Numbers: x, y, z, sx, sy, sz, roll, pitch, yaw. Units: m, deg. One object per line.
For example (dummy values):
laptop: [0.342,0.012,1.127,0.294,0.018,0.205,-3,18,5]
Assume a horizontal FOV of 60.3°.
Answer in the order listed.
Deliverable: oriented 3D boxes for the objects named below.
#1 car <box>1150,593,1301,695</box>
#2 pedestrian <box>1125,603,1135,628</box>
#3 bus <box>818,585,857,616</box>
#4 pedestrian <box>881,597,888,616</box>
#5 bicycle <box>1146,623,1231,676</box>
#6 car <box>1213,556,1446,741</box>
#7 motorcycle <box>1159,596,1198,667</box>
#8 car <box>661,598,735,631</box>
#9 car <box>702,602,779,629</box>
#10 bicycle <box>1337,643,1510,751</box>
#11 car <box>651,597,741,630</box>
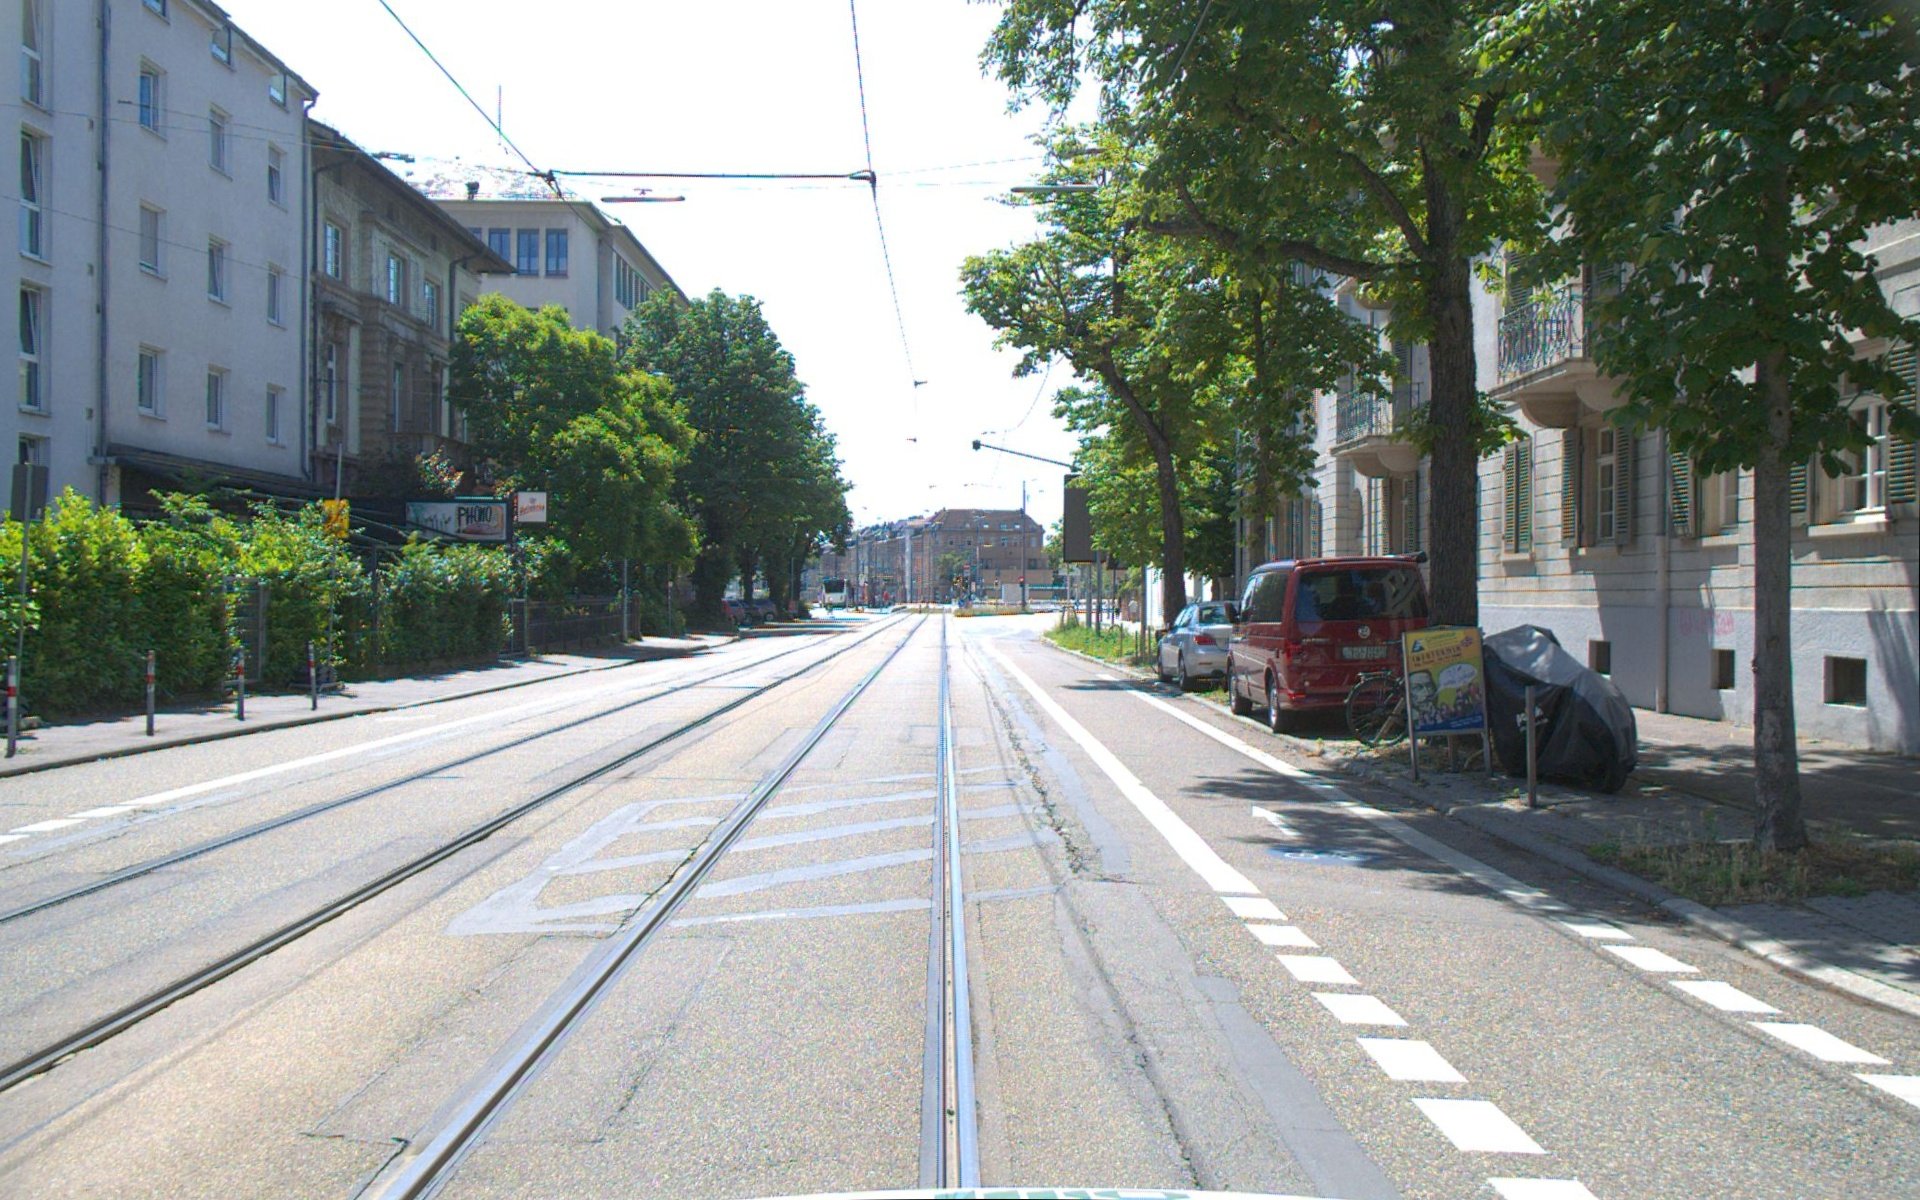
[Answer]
car: [4.509,0.724,28.783,1.821,1.605,4.877,1,-1,0]
pedestrian: [11.136,1.011,108.331,0.646,1.676,0.625,0,0,5]
bus: [-13.313,0.069,181.645,2.948,3.213,17.497,0,0,0]
pedestrian: [-7.837,0.691,171.854,0.660,1.943,0.639,0,0,-10]
bicycle: [4.536,0.975,32.881,1.624,1.033,0.371,0,0,0]
car: [4.500,0.548,20.922,1.821,2.049,4.975,1,0,0]
motorcycle: [4.863,0.675,36.732,0.729,1.532,2.561,0,0,11]
car: [-13.045,0.718,82.377,3.301,1.542,1.655,1,0,-27]
car: [-11.997,0.849,90.390,3.873,1.398,1.655,0,0,-27]
bicycle: [4.679,0.972,16.707,1.664,1.039,0.364,-1,0,-7]
car: [-13.582,0.712,85.263,4.262,1.612,1.653,2,-1,-30]
